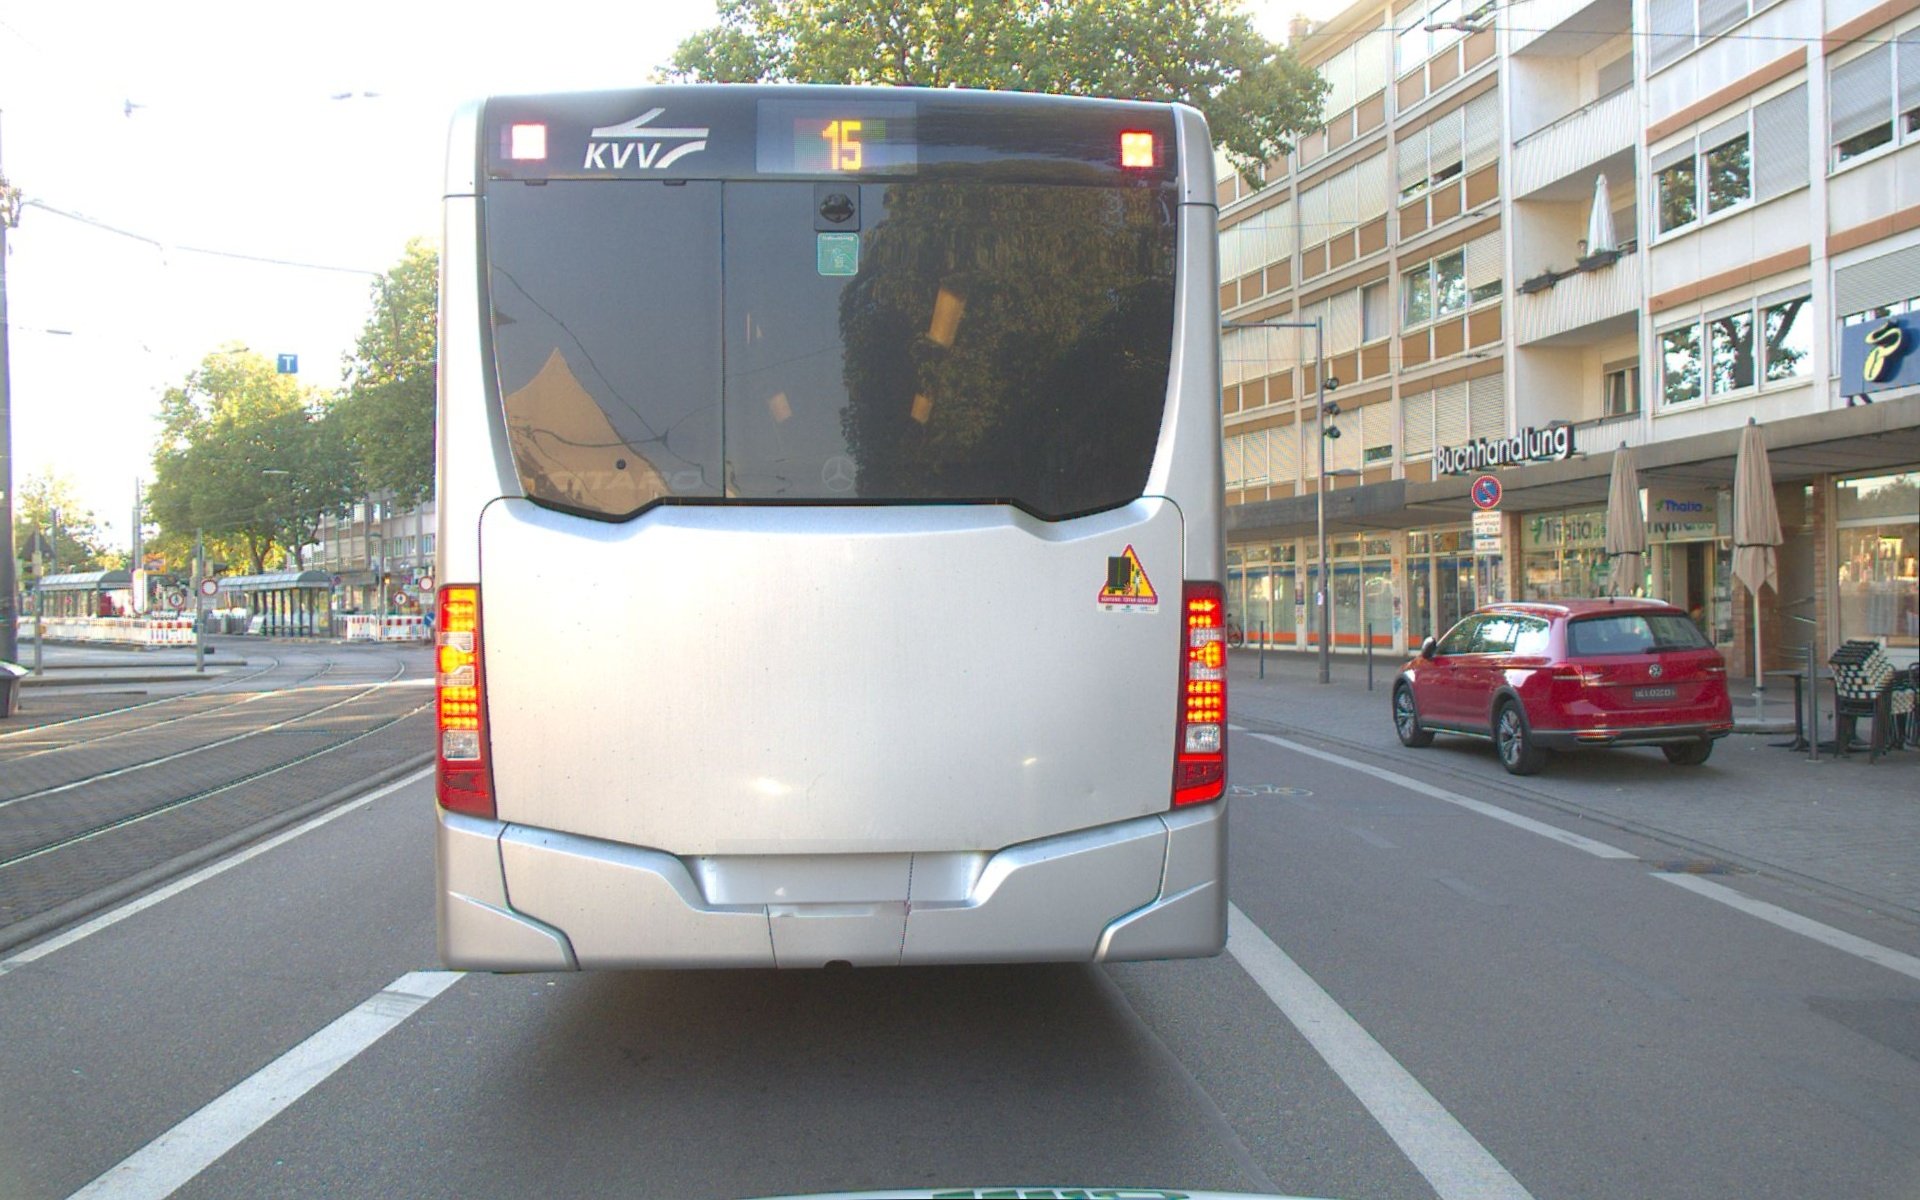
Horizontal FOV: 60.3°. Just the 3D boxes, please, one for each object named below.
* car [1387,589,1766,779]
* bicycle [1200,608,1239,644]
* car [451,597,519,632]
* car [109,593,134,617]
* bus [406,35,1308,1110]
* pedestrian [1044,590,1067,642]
[{"bbox_3d":[5.704,0.702,15.930,1.735,1.508,4.299,-2,0,-4],"label":"car"},{"bbox_3d":[7.150,0.711,45.670,0.406,0.961,1.431,-1,0,-20],"label":"bicycle"},{"bbox_3d":[-25.213,0.751,87.730,1.982,1.823,3.940,1,-1,-41],"label":"car"},{"bbox_3d":[-72.396,0.440,142.786,1.604,2.049,3.075,-1,0,-34],"label":"car"},{"bbox_3d":[-0.365,-0.064,9.769,2.577,3.081,9.995,0,0,-1],"label":"bus"},{"bbox_3d":[3.127,0.531,54.277,0.527,1.677,0.612,-1,0,-18],"label":"pedestrian"}]
